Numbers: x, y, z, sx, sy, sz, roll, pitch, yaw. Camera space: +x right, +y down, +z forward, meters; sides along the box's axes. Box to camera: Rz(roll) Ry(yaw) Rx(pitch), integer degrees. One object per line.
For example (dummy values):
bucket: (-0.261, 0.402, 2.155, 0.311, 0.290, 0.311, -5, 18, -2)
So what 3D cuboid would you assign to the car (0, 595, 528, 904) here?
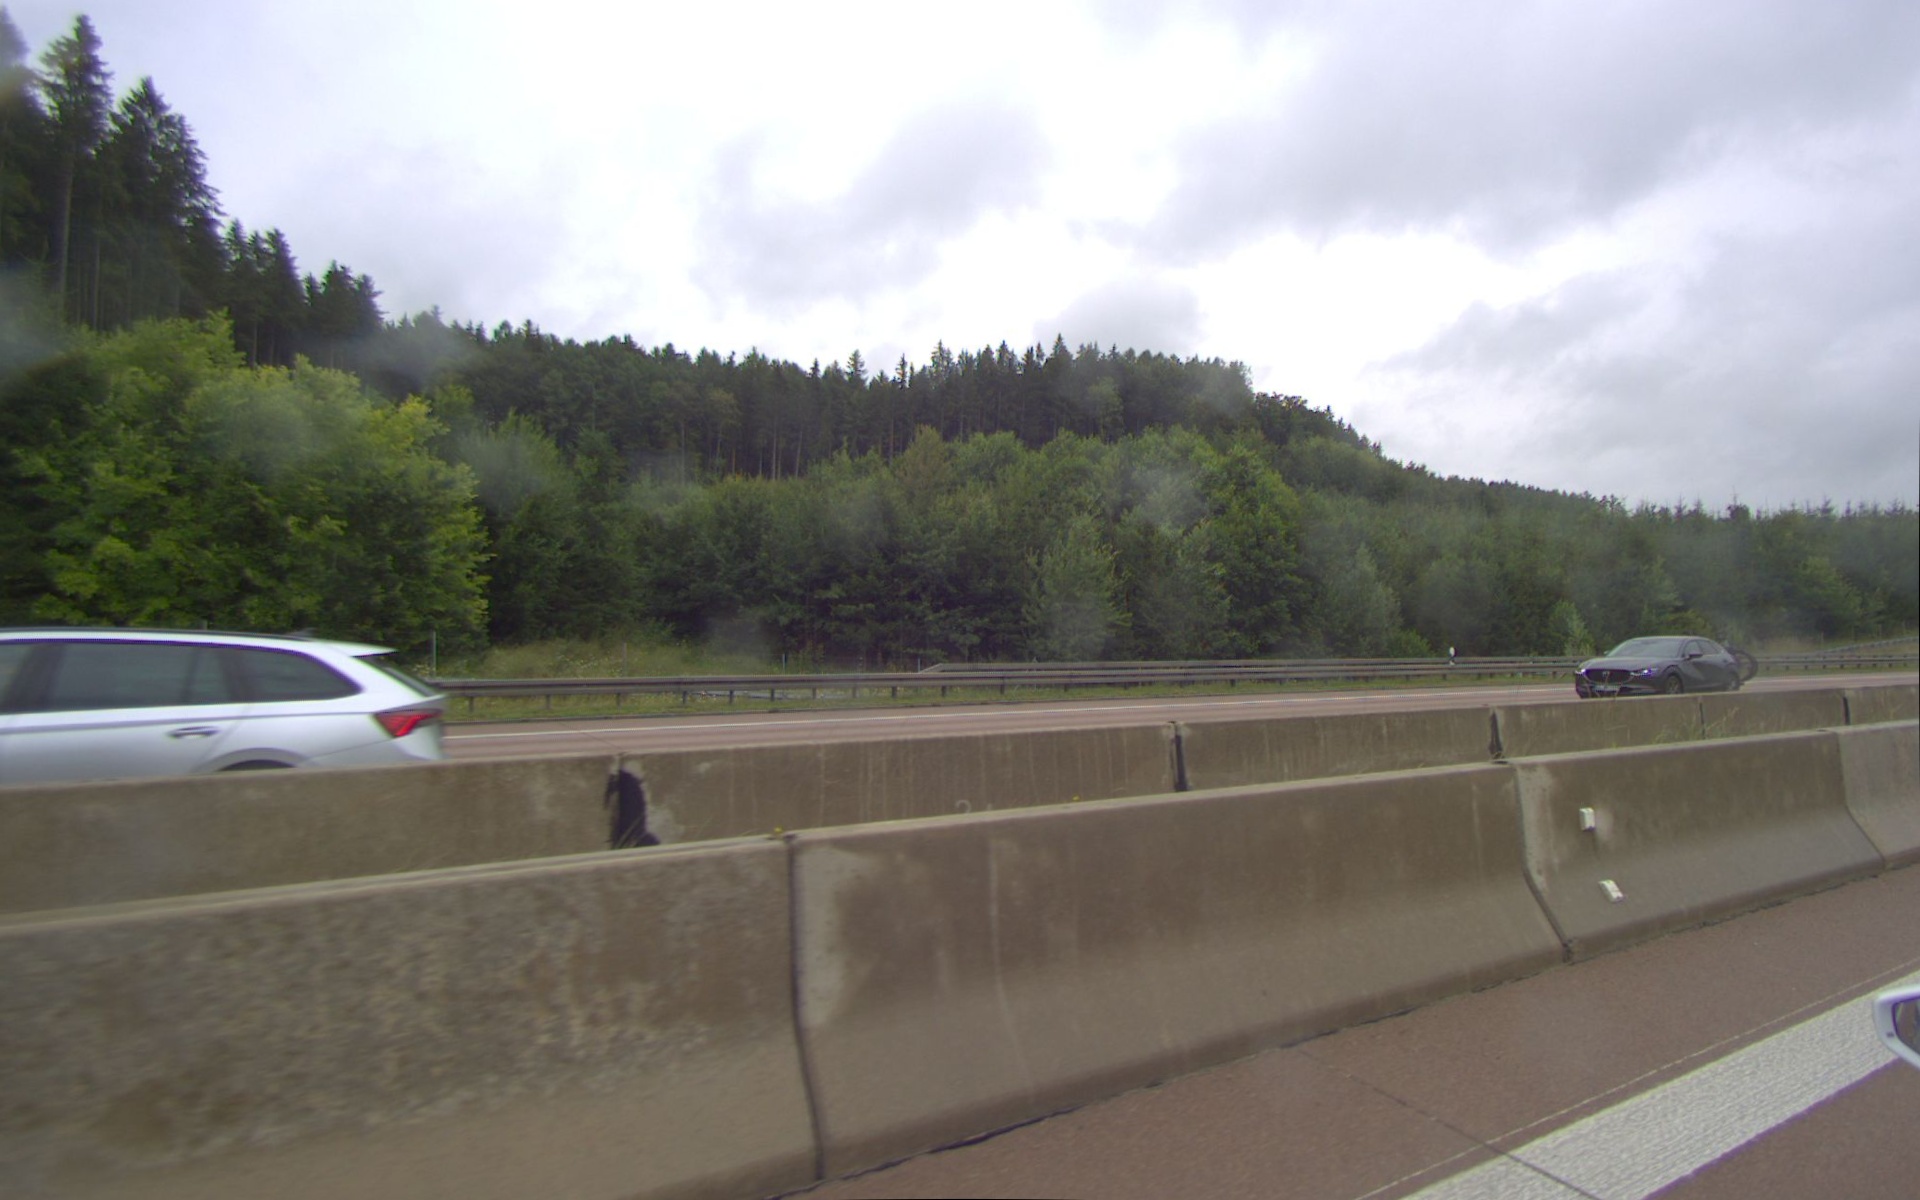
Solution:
car: (-5.419, 0.789, 6.125, 4.889, 1.581, 1.984, 3, -1, -30)

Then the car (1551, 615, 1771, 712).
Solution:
car: (16.001, 1.403, 22.804, 5.671, 1.886, 2.265, 3, -1, -35)
